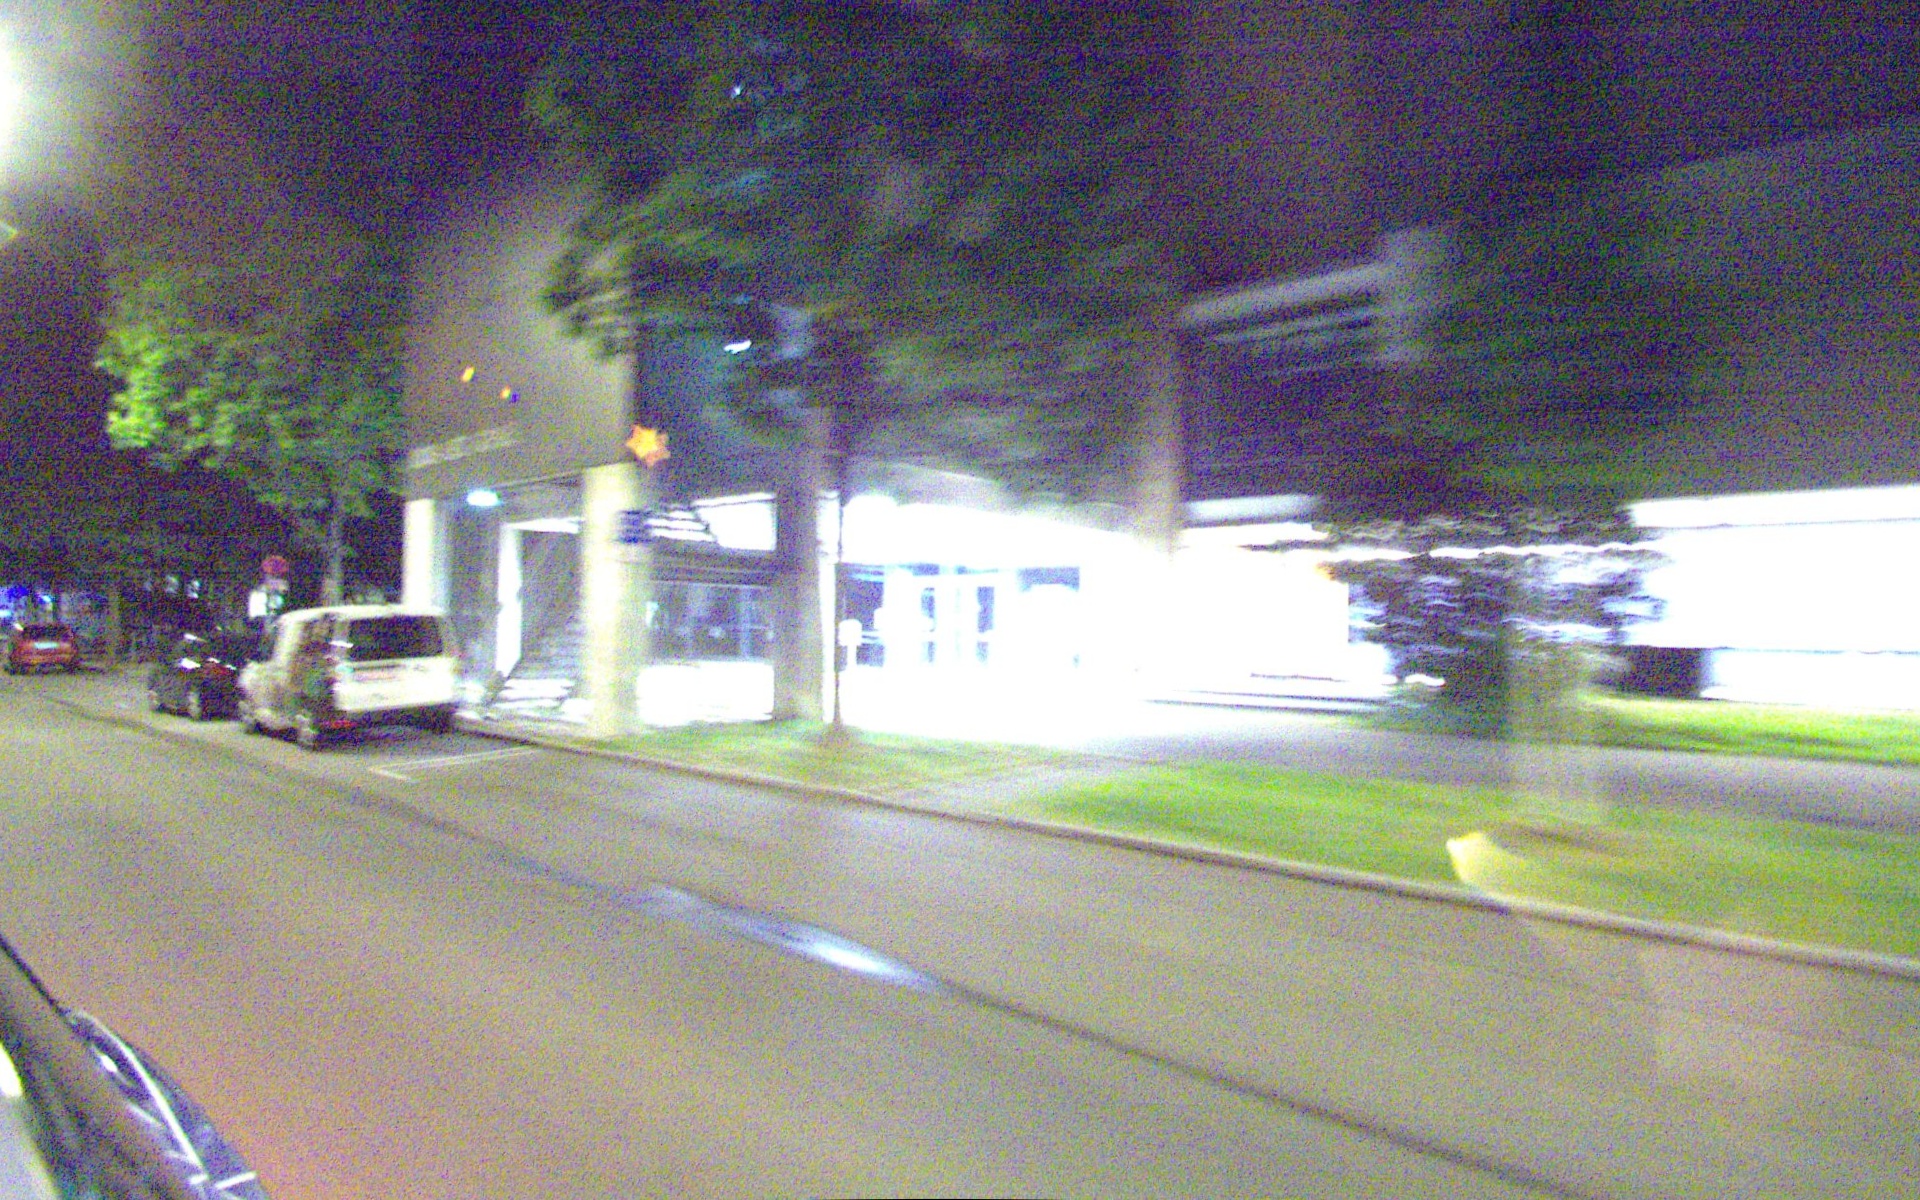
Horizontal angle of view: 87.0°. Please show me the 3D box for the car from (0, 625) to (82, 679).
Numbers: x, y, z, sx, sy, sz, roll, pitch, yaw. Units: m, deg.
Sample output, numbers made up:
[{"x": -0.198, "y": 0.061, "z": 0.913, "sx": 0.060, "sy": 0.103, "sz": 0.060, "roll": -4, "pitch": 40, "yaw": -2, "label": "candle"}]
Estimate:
[{"x": -29.725, "y": 1.612, "z": 32.524, "sx": 4.072, "sy": 1.611, "sz": 1.802, "roll": -1, "pitch": -2, "yaw": 43, "label": "car"}]

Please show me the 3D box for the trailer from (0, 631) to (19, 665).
[{"x": -41.188, "y": 2.032, "z": 42.429, "sx": 5.434, "sy": 1.345, "sz": 2.088, "roll": -1, "pitch": 0, "yaw": 42, "label": "trailer"}]

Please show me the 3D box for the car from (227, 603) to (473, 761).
[{"x": -8.683, "y": 1.033, "z": 14.254, "sx": 4.209, "sy": 1.825, "sz": 1.803, "roll": -2, "pitch": 1, "yaw": 42, "label": "car"}]

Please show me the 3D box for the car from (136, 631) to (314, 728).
[{"x": -13.075, "y": 1.313, "z": 17.936, "sx": 3.826, "sy": 1.444, "sz": 1.683, "roll": -2, "pitch": 1, "yaw": 41, "label": "car"}]
